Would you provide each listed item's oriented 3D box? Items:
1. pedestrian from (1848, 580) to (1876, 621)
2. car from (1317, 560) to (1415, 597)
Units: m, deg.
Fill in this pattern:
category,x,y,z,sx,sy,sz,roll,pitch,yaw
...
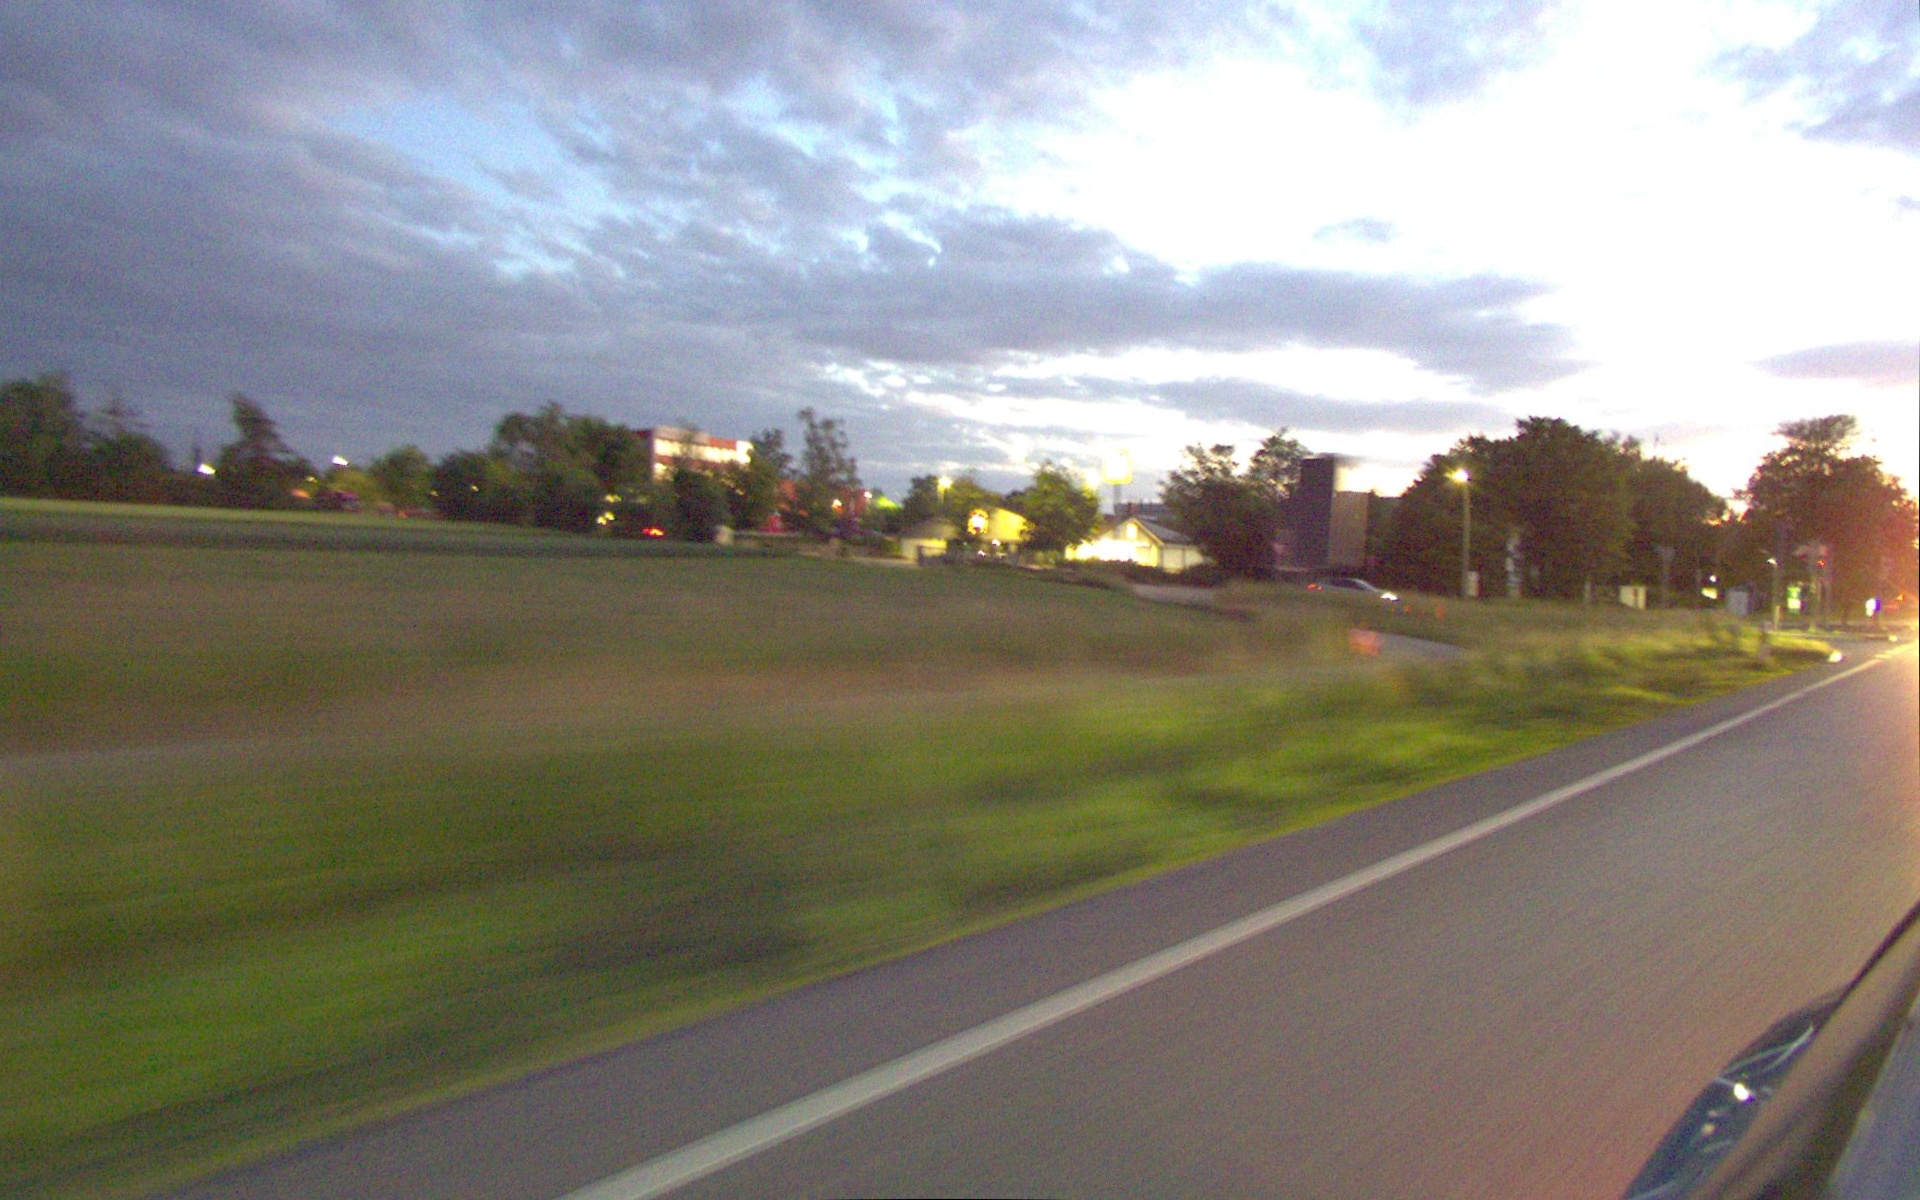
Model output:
category,x,y,z,sx,sy,sz,roll,pitch,yaw
pedestrian,45.815,0.026,51.413,0.768,2.039,0.712,0,0,9
car,21.125,-1.143,52.662,4.443,1.684,1.979,4,3,31
